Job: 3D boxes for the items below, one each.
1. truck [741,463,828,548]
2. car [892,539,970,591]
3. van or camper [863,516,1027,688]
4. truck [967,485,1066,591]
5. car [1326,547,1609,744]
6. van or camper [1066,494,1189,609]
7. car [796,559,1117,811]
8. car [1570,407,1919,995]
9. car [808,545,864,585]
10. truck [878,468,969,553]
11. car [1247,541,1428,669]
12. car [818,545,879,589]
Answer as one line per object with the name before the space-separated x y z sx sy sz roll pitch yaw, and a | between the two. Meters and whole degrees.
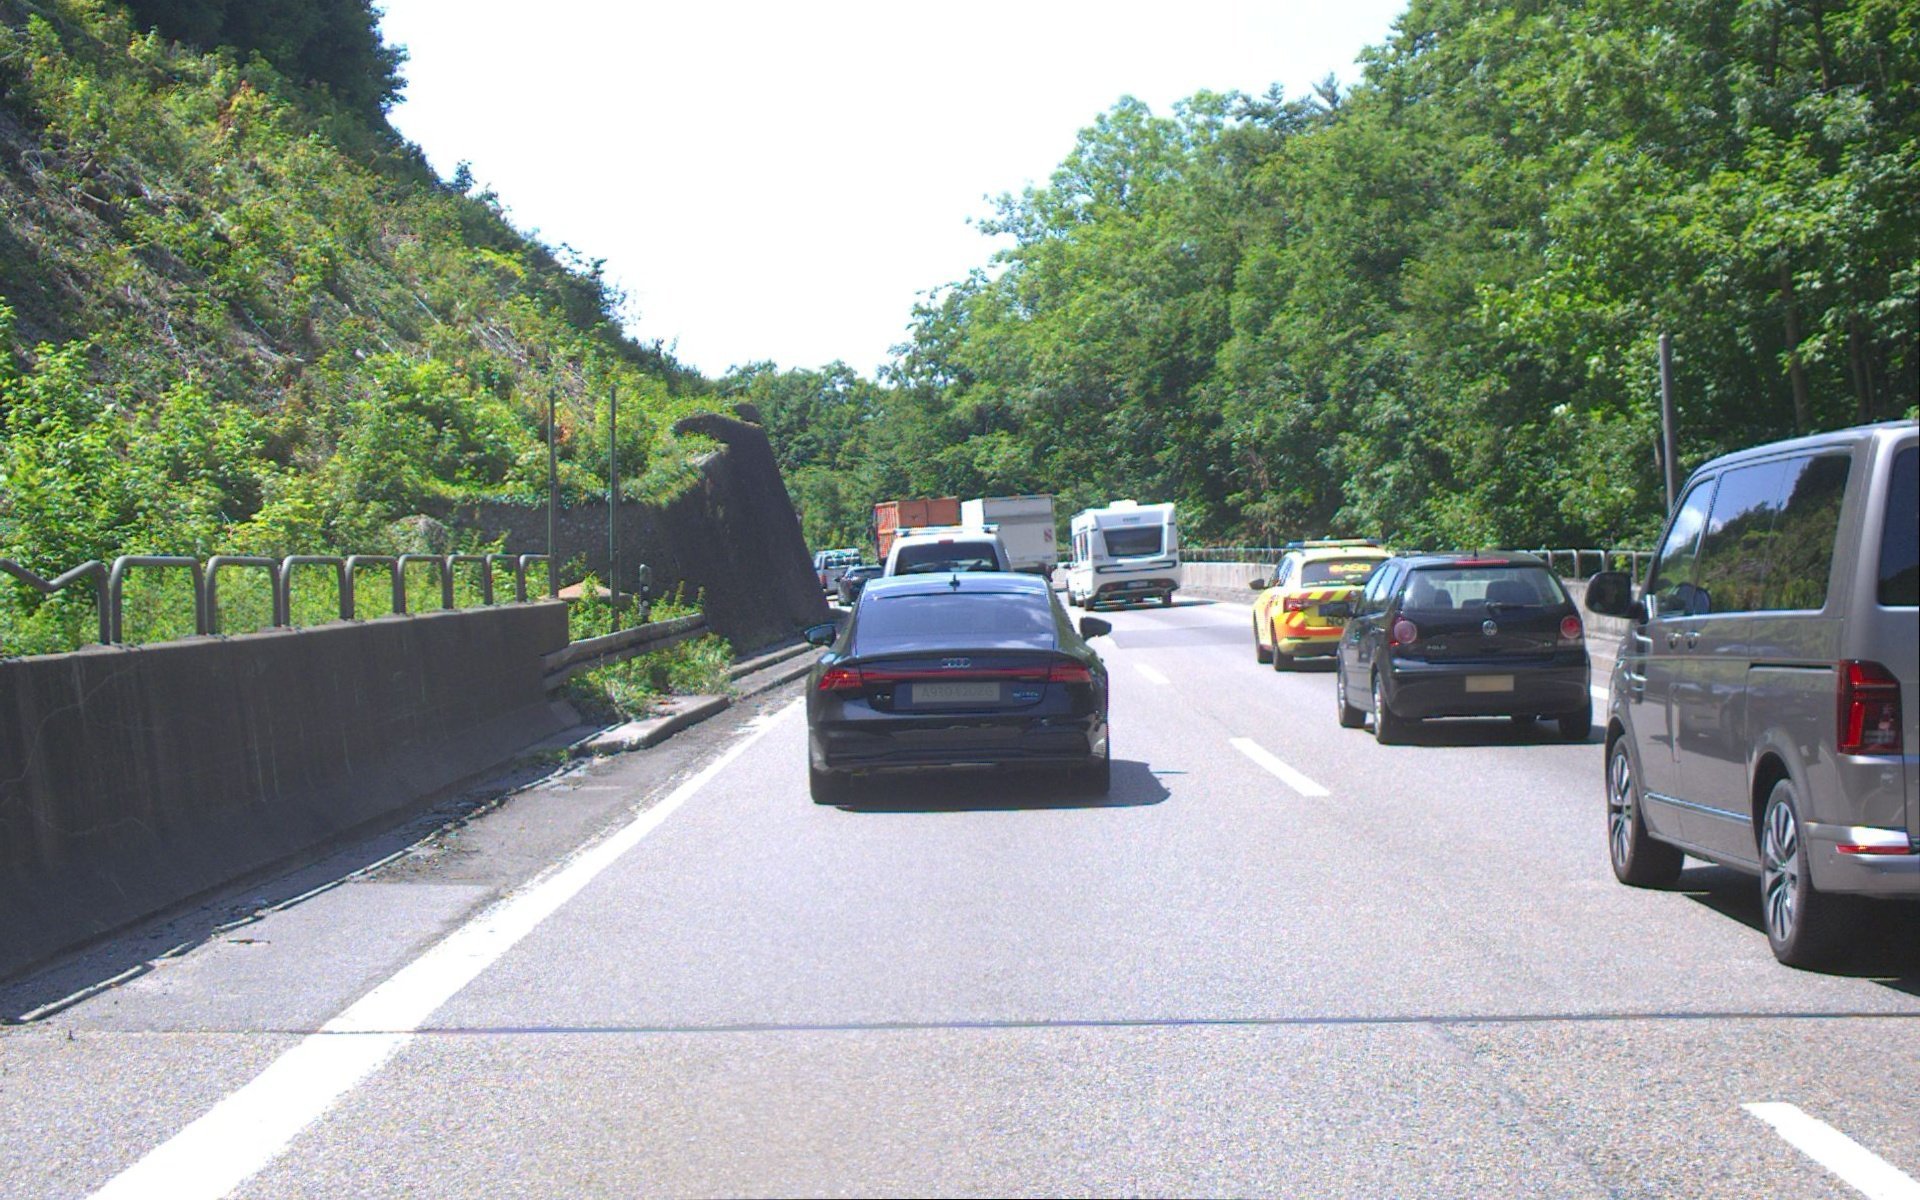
truck | -9.563 -5.070 186.287 3.709 4.488 7.726 1 1 -10
car | -0.930 -1.107 107.477 1.993 1.612 4.001 0 1 -7
van or camper | -0.136 -0.004 41.139 1.853 1.935 4.165 0 1 1
truck | 1.995 -2.210 124.003 2.925 3.674 7.725 1 1 -4
car | 3.971 0.312 27.468 1.685 1.453 4.000 0 1 0
van or camper | 4.275 -1.256 88.909 2.603 2.845 6.336 0 1 -2
car | -0.090 0.482 22.680 1.904 1.484 4.379 0 1 -2
car | 3.810 0.307 13.607 1.940 1.924 4.694 0 1 0
car | -4.953 -1.400 137.118 1.750 1.565 3.772 0 1 -9
truck | -1.609 -3.760 145.825 3.163 3.456 8.223 1 1 -5
car | 4.584 0.032 42.219 1.808 1.473 4.082 0 1 1
car | -4.034 -1.196 124.128 1.750 1.565 3.772 0 1 -9
